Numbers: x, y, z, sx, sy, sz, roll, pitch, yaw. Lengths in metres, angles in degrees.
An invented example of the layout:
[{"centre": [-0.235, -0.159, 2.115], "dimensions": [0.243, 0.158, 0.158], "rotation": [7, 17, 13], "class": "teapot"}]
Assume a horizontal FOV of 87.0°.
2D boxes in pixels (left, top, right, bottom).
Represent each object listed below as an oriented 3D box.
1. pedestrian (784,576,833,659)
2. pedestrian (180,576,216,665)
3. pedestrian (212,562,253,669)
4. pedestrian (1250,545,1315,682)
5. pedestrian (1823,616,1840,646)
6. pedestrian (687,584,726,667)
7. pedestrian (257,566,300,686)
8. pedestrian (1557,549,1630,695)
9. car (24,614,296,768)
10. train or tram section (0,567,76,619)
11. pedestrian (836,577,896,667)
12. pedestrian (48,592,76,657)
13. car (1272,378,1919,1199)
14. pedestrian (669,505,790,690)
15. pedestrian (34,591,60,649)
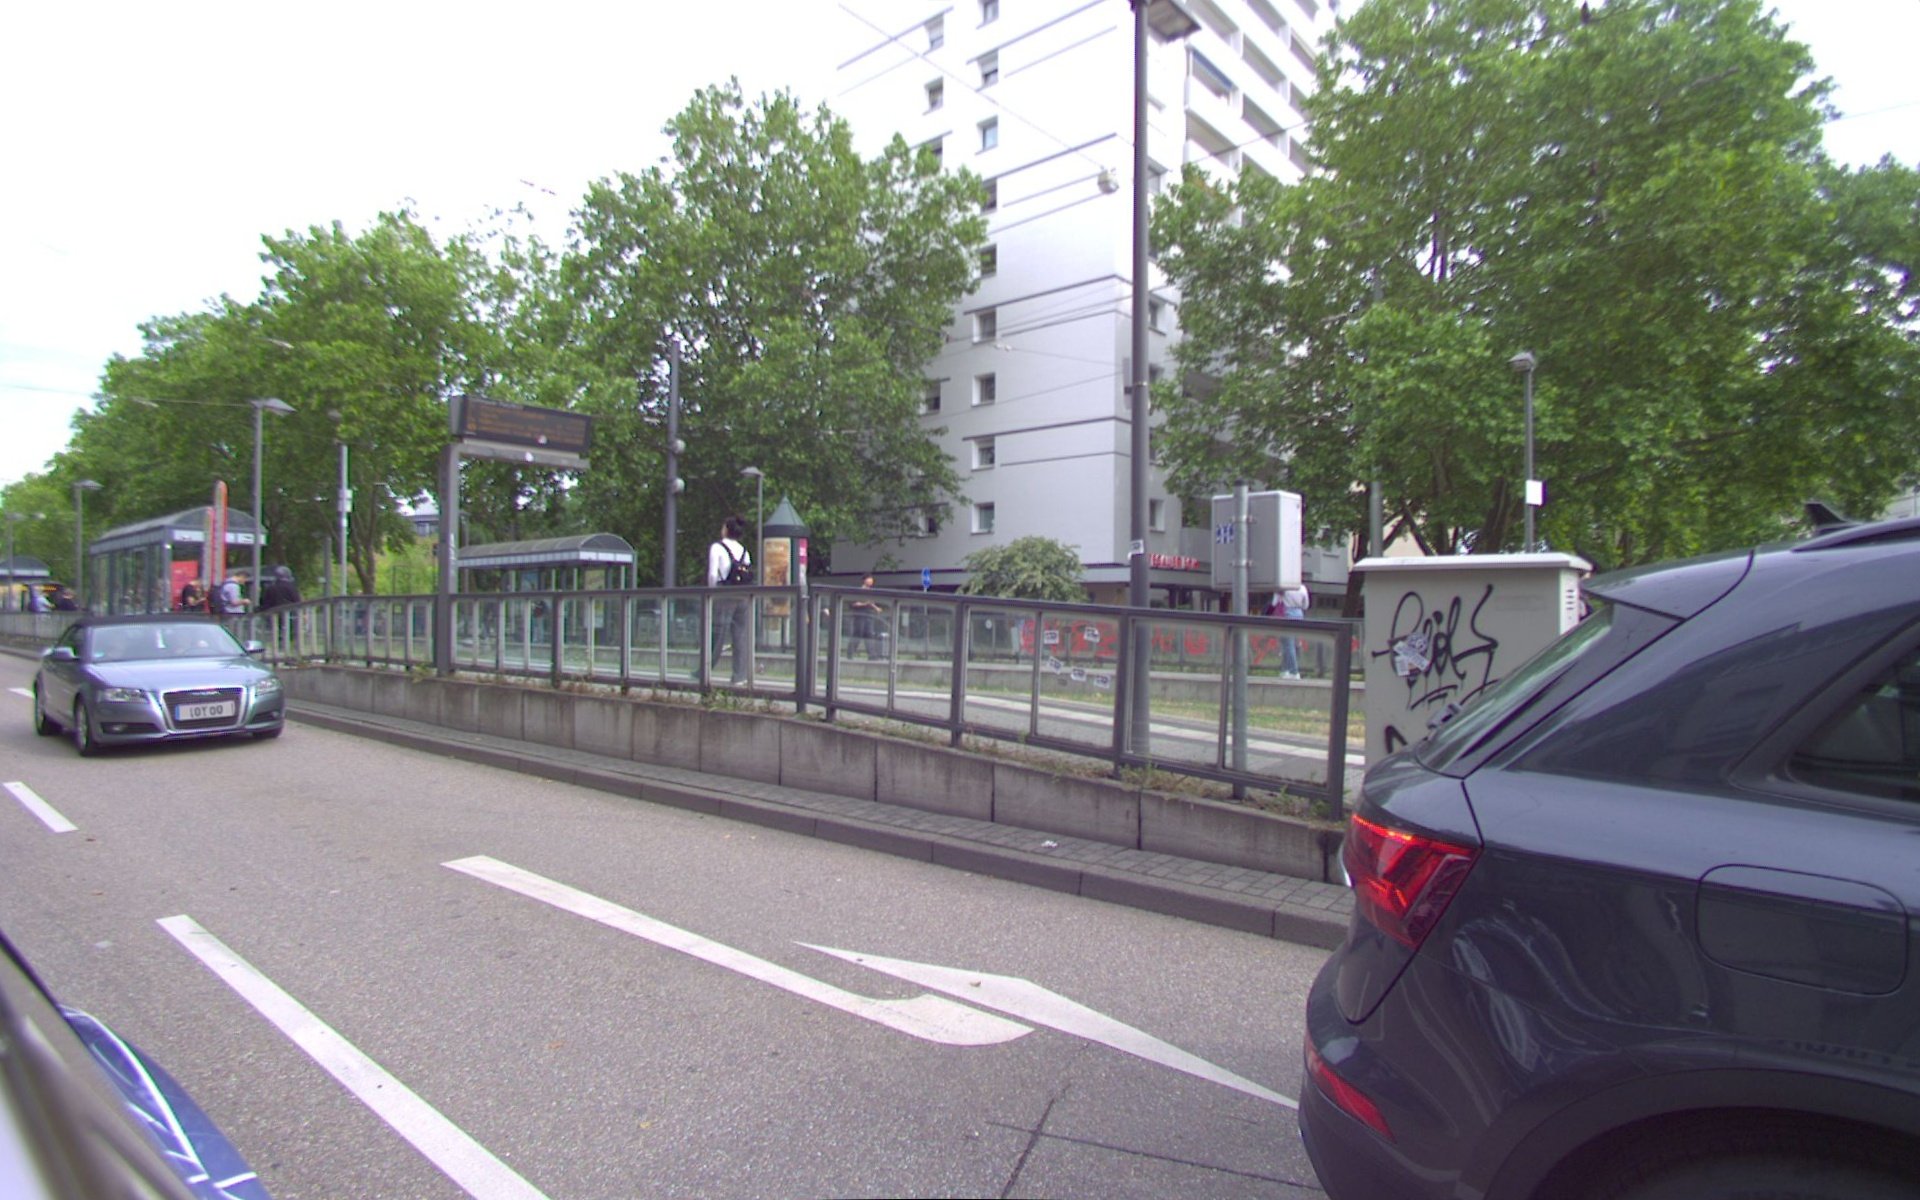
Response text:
[{"centre": [-3.433, 0.385, 22.991], "dimensions": [0.666, 1.848, 0.871], "rotation": [-1, 0, 41], "class": "pedestrian"}, {"centre": [-15.930, 0.421, 21.172], "dimensions": [0.467, 1.818, 0.607], "rotation": [-1, 0, -24], "class": "pedestrian"}, {"centre": [-12.710, 0.268, 17.679], "dimensions": [0.605, 1.818, 0.469], "rotation": [-1, 0, 45], "class": "pedestrian"}, {"centre": [4.780, 0.196, 14.978], "dimensions": [0.666, 1.965, 0.728], "rotation": [-1, 0, 41], "class": "pedestrian"}, {"centre": [59.794, 2.098, 69.442], "dimensions": [0.670, 2.029, 0.667], "rotation": [-1, 0, 18], "class": "pedestrian"}, {"centre": [-6.010, 0.592, 24.023], "dimensions": [0.553, 1.945, 0.690], "rotation": [-1, 0, 41], "class": "pedestrian"}, {"centre": [-10.578, 0.391, 15.697], "dimensions": [0.513, 1.818, 0.606], "rotation": [-1, 0, -37], "class": "pedestrian"}, {"centre": [7.977, 0.263, 12.739], "dimensions": [0.666, 1.763, 0.728], "rotation": [-1, 0, 41], "class": "pedestrian"}, {"centre": [-9.110, 0.875, 11.406], "dimensions": [4.097, 1.398, 1.694], "rotation": [-1, 0, 41], "class": "car"}, {"centre": [-73.192, -0.449, 79.814], "dimensions": [15.196, 3.781, 3.295], "rotation": [-1, 0, 41], "class": "train or tram section"}, {"centre": [-1.910, 0.439, 20.559], "dimensions": [0.850, 1.769, 0.871], "rotation": [-1, 0, 41], "class": "pedestrian"}, {"centre": [-25.573, 0.695, 28.833], "dimensions": [0.523, 1.818, 0.607], "rotation": [-1, 0, -35], "class": "pedestrian"}, {"centre": [2.684, 0.542, 0.981], "dimensions": [4.225, 1.649, 1.715], "rotation": [-1, 0, 41], "class": "car"}, {"centre": [-2.241, -0.020, 9.817], "dimensions": [0.979, 1.683, 0.711], "rotation": [-1, 0, 44], "class": "pedestrian"}, {"centre": [-29.042, 0.625, 32.195], "dimensions": [0.523, 1.818, 0.607], "rotation": [-1, 0, -35], "class": "pedestrian"}]
